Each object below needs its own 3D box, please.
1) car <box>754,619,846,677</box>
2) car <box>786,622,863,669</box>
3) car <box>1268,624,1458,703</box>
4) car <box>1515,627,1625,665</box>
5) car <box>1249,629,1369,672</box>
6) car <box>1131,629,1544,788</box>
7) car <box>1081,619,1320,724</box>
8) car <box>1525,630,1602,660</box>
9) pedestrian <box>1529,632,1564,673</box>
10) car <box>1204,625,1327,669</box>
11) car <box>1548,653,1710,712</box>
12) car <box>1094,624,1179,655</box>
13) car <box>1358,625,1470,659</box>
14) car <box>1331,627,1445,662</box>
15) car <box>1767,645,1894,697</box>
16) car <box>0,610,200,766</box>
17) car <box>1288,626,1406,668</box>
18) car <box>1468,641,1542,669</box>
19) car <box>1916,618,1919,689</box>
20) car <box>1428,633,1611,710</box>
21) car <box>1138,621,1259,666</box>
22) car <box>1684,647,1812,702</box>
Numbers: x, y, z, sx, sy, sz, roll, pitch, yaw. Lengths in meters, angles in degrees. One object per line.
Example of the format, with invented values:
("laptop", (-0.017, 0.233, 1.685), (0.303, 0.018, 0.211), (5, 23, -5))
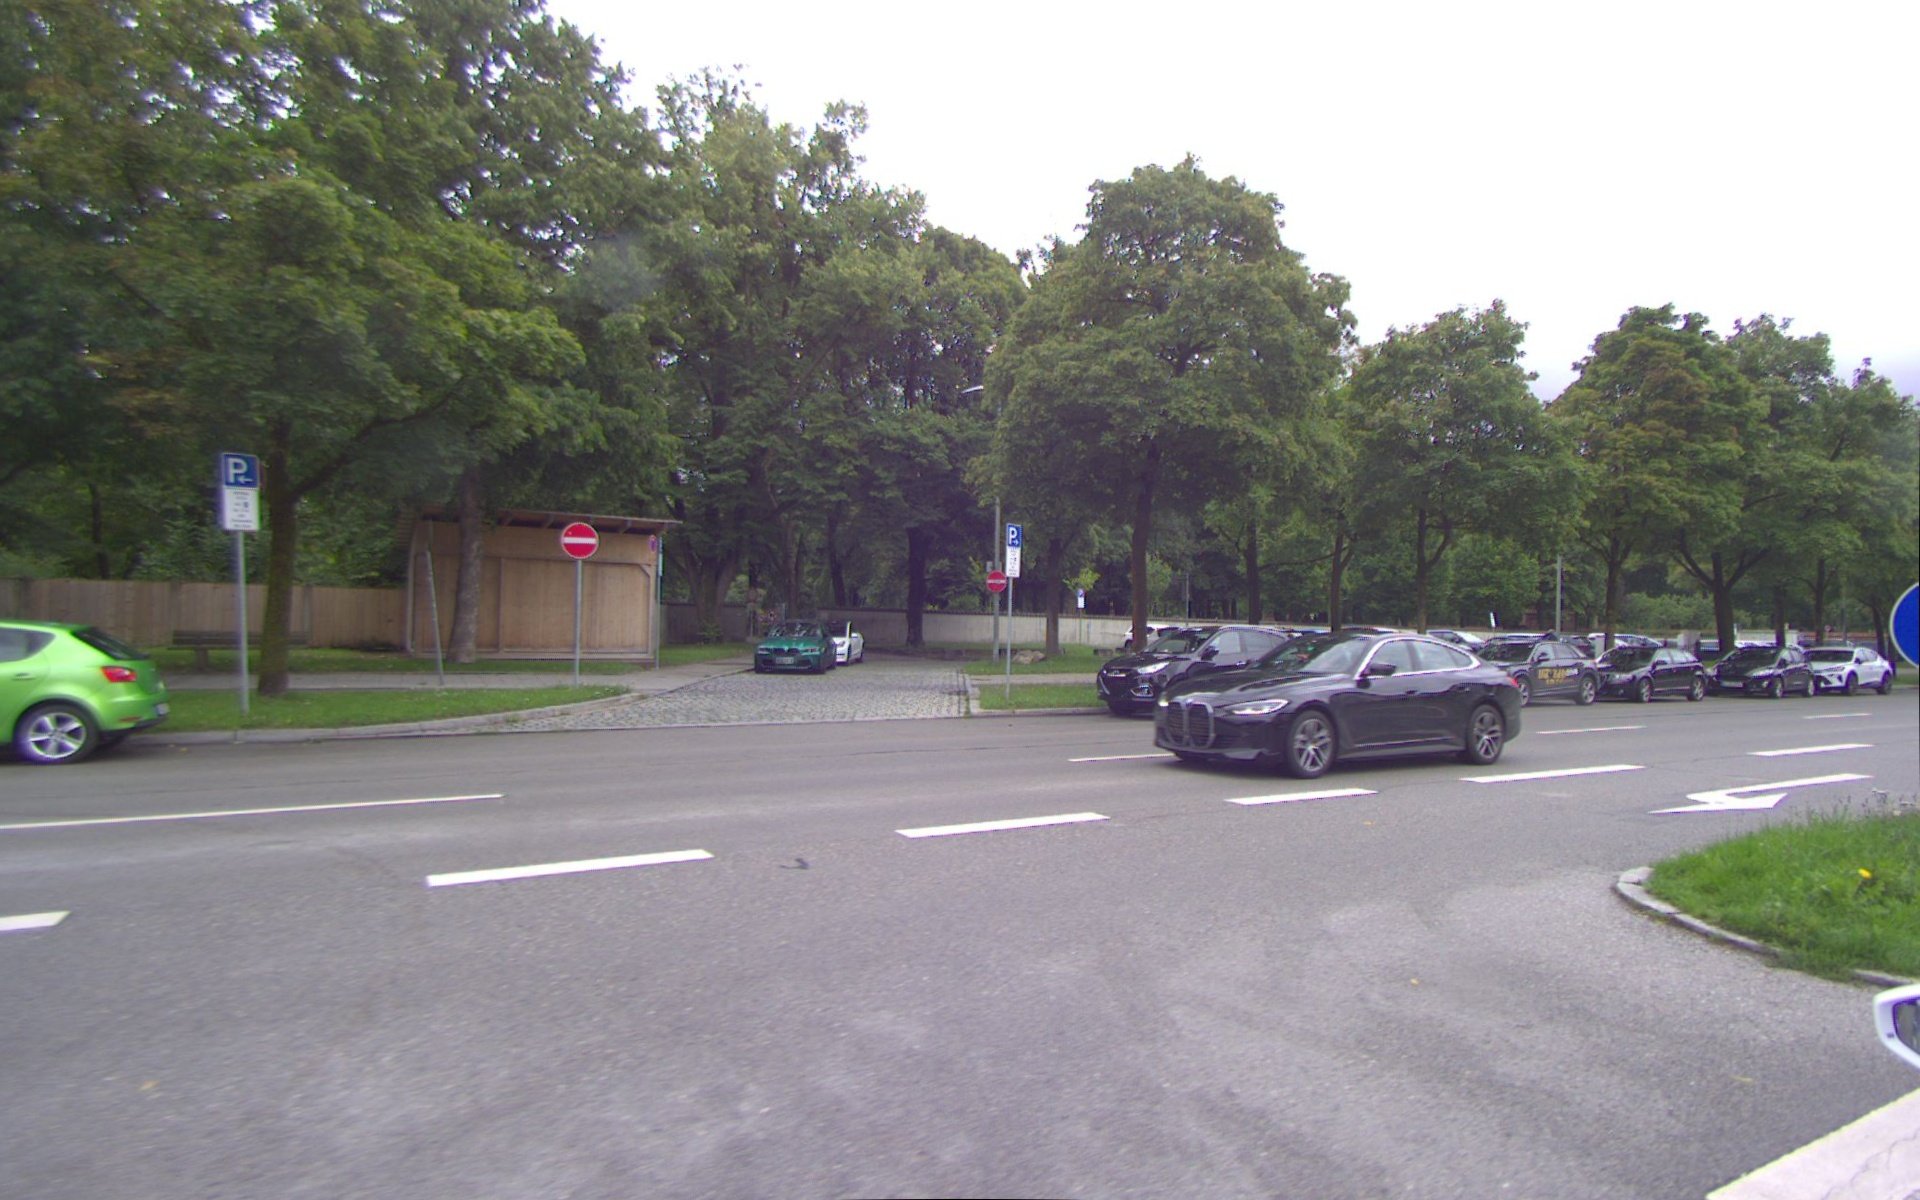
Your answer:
("car", (-4.336, 1.272, 27.773), (1.822, 1.428, 3.860), (1, -1, 2))
("car", (-4.464, 1.473, 33.619), (1.822, 1.428, 4.470), (1, -1, 2))
("car", (8.544, 1.350, 21.273), (3.766, 1.499, 1.812), (3, -2, -31))
("car", (27.717, 2.077, 45.756), (1.791, 1.591, 3.972), (2, -1, -27))
("car", (13.322, 1.894, 38.537), (1.980, 1.461, 3.962), (2, -1, -34))
("car", (4.336, 1.099, 11.297), (4.727, 1.467, 1.807), (2, -2, -31))
("car", (4.467, 1.300, 18.523), (4.191, 1.722, 1.812), (3, -2, -31))
("car", (44.603, 3.312, 74.360), (1.976, 2.061, 4.485), (2, -1, -29))
("pedestrian", (21.858, 1.951, 37.447), (0.846, 1.515, 0.791), (2, -1, -29))
("car", (11.215, 1.709, 37.147), (1.977, 1.461, 4.114), (2, -1, -31))
("car", (17.411, 2.112, 26.128), (3.949, 1.428, 1.815), (2, -3, -27))
("car", (9.159, 2.065, 52.534), (1.976, 1.461, 4.485), (2, -1, -29))
("car", (18.946, 1.748, 42.056), (1.724, 1.301, 3.960), (2, -2, -35))
("car", (17.269, 1.782, 40.672), (1.723, 1.301, 3.962), (2, -1, -34))
("car", (27.661, 2.275, 31.912), (4.250, 1.547, 1.813), (3, -3, -31))
("car", (-10.366, 0.870, 10.206), (3.951, 1.519, 1.634), (2, -3, -29))
("car", (15.326, 1.838, 39.950), (1.980, 1.461, 3.962), (2, -1, -34))
("car", (35.008, 3.505, 64.656), (1.745, 1.617, 3.977), (2, -1, -24))
("car", (39.786, 2.072, 38.829), (7.019, 2.678, 2.130), (2, -2, -29))
("car", (13.047, 1.634, 23.393), (4.061, 1.620, 1.814), (2, -1, -28))
("car", (8.503, 1.527, 36.104), (1.980, 1.461, 3.962), (2, -1, -34))
("car", (23.087, 2.140, 29.387), (3.958, 1.466, 1.811), (2, -3, -34))
